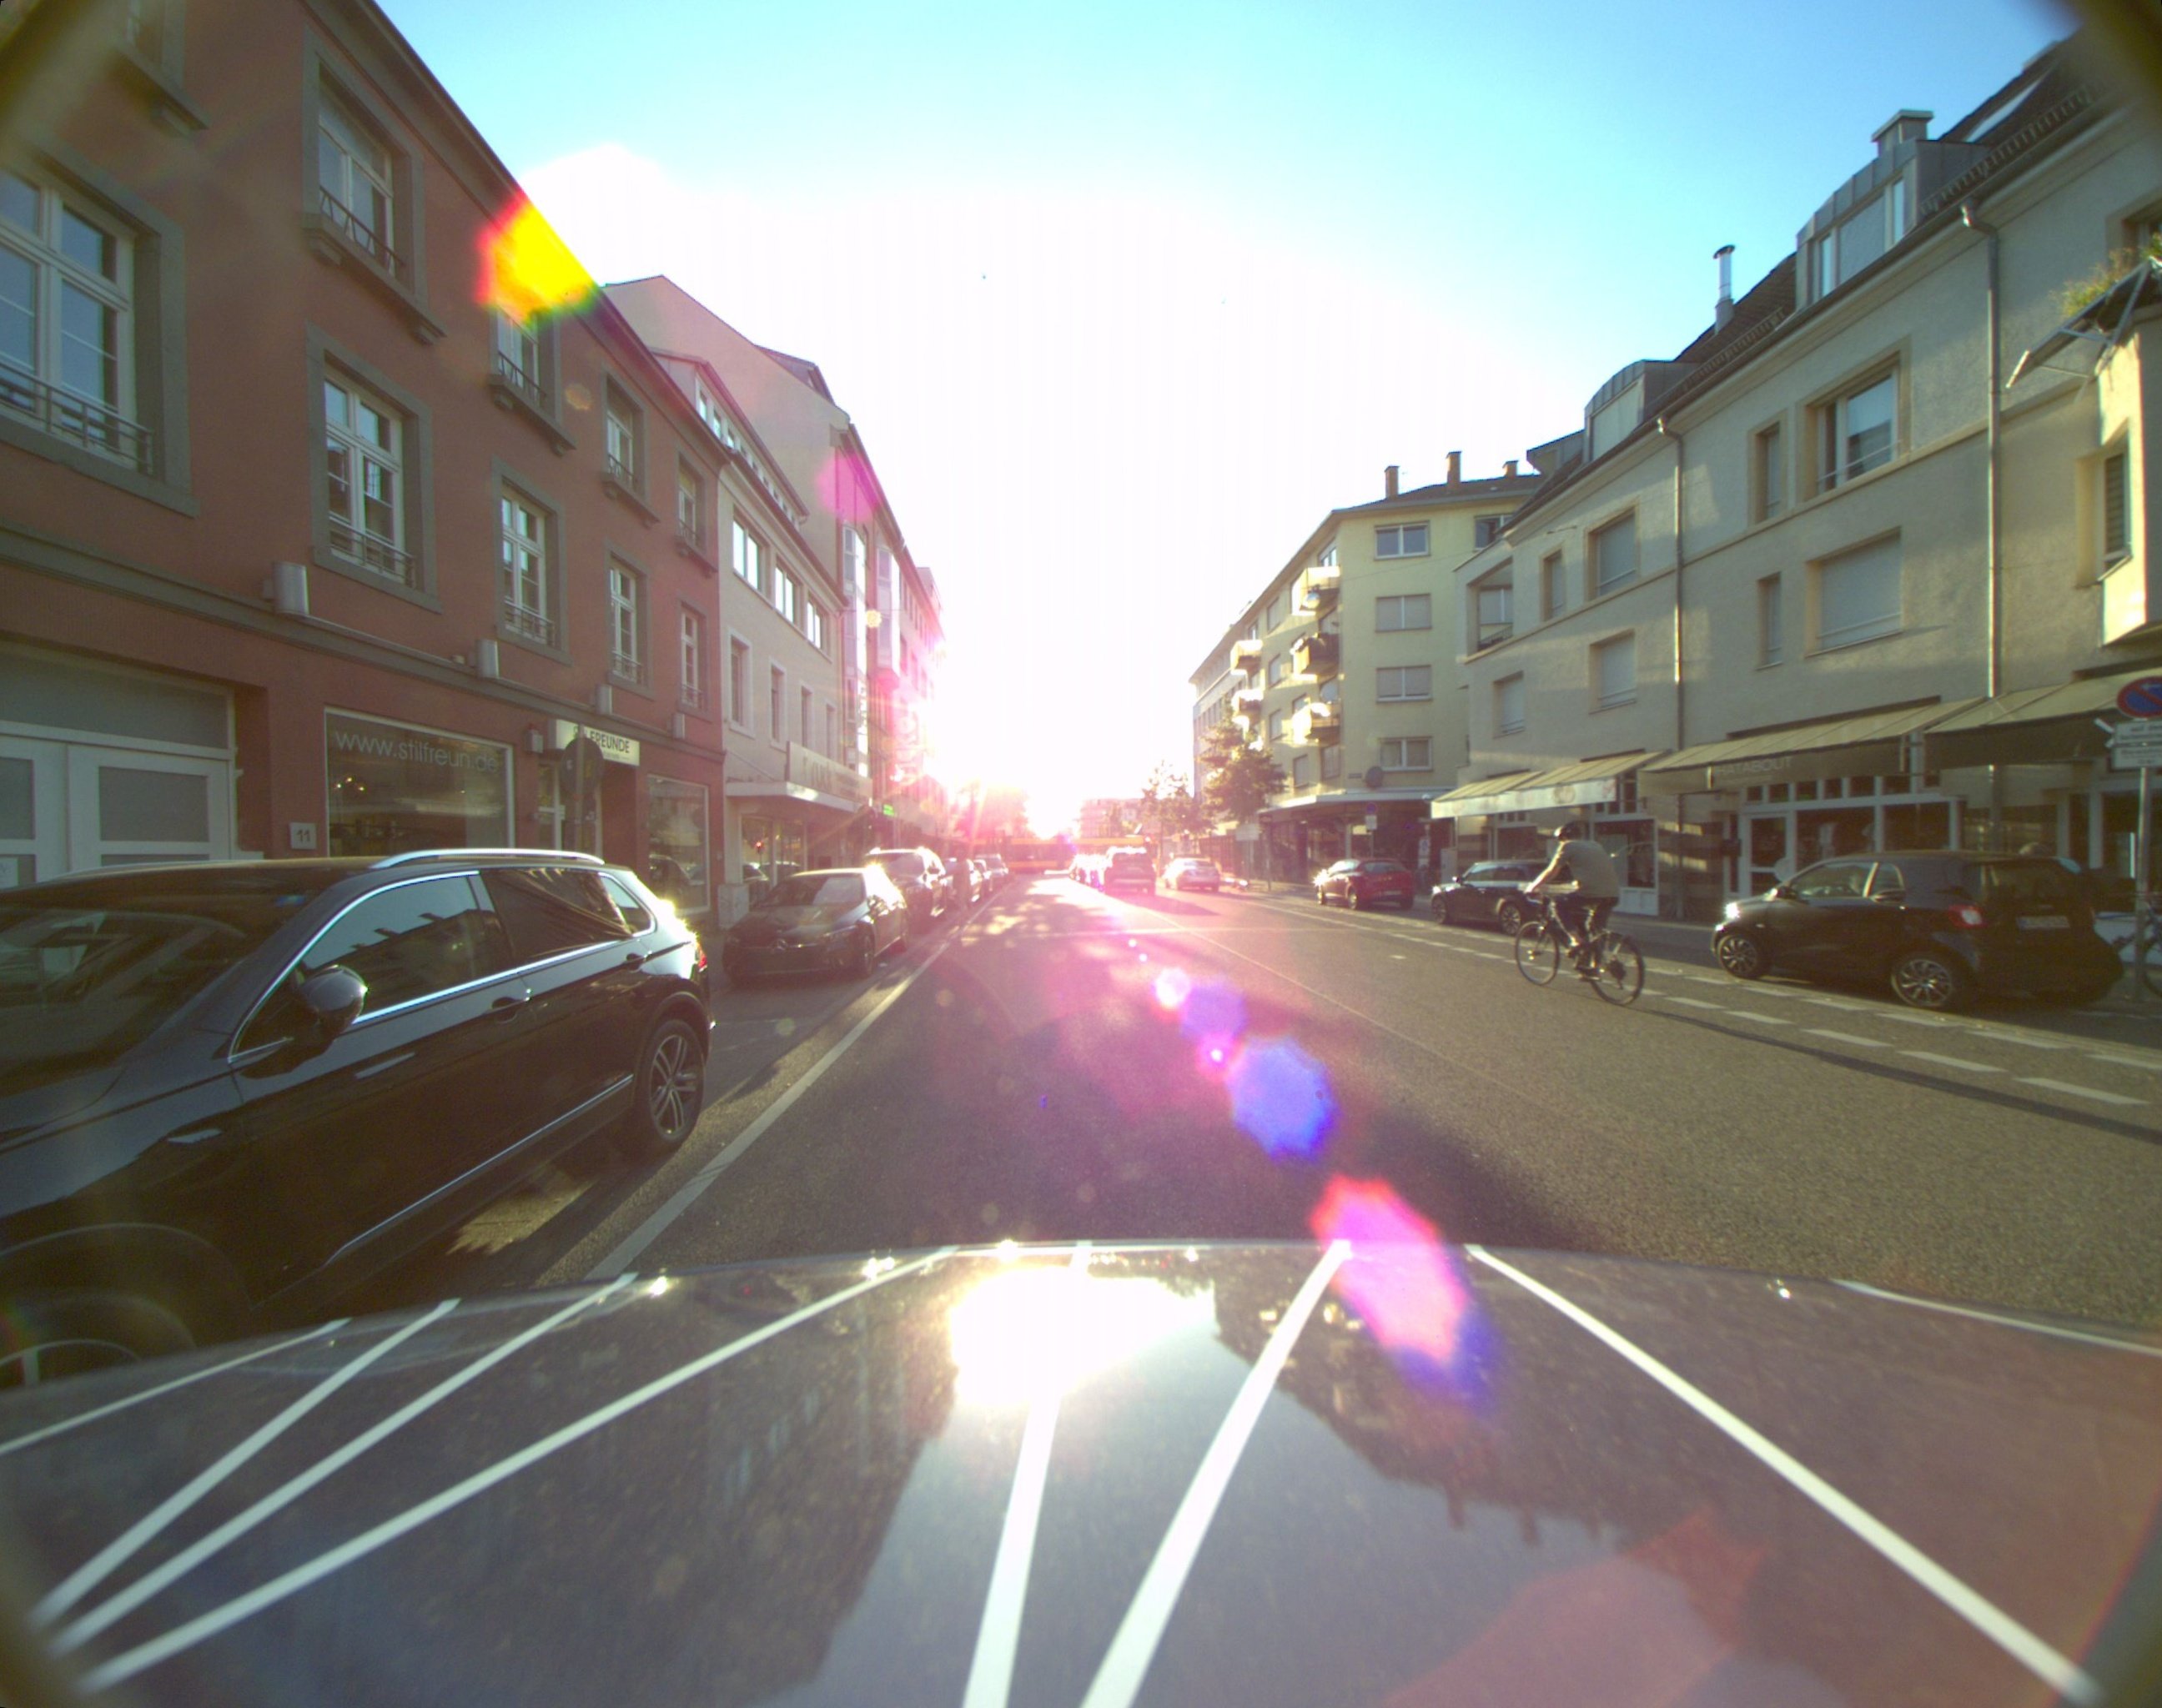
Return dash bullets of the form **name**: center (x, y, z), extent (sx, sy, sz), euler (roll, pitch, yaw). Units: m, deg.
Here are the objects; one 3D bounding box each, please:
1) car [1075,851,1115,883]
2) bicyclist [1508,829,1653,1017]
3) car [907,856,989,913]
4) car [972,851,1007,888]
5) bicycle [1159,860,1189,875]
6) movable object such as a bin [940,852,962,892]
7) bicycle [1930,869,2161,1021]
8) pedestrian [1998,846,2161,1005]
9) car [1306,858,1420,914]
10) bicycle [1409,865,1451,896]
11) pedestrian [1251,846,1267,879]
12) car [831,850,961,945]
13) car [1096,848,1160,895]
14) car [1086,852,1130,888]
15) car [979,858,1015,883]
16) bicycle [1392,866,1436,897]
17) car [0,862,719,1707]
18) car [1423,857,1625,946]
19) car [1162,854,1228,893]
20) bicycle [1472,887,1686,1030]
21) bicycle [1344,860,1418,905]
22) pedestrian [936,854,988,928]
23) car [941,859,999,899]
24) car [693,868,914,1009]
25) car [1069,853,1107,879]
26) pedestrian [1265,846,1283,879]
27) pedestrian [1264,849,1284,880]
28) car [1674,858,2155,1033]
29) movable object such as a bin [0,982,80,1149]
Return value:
- **car**: center (0.725, 0.673, 42.625), extent (1.951, 1.635, 4.613), euler (0, 1, -2)
- **bicyclist**: center (5.124, 0.664, 7.864), extent (0.783, 1.818, 1.006), euler (0, 1, -5)
- **car**: center (-4.165, 0.897, 24.547), extent (1.816, 1.518, 4.992), euler (-2, 1, -1)
- **car**: center (-4.742, 0.790, 39.697), extent (1.659, 1.768, 4.009), euler (-2, 0, -6)
- **bicycle**: center (6.636, 0.959, 54.344), extent (2.015, 0.986, 0.491), euler (-2, 1, -7)
- **movable object such as a bin**: center (-5.946, 0.805, 34.737), extent (0.837, 1.764, 1.352), euler (-2, 1, -6)
- **bicycle**: center (10.562, 0.890, 7.952), extent (0.612, 1.367, 2.357), euler (-2, 1, -4)
- **pedestrian**: center (11.099, 0.738, 8.420), extent (0.719, 1.632, 0.951), euler (-2, 1, -6)
- **car**: center (8.144, 0.864, 22.297), extent (1.665, 1.394, 3.882), euler (-2, 1, -3)
- **bicycle**: center (12.286, 0.920, 26.810), extent (0.491, 0.986, 2.015), euler (-2, 1, -2)
- **pedestrian**: center (10.270, 0.491, 43.789), extent (0.769, 1.836, 0.743), euler (-1, -1, 7)
- **car**: center (-4.022, 0.846, 17.460), extent (1.888, 1.744, 5.057), euler (-2, 1, -3)
- **car**: center (1.701, 0.587, 28.892), extent (1.946, 1.635, 4.737), euler (0, 1, -2)
- **car**: center (1.206, 0.718, 35.806), extent (1.728, 1.540, 4.463), euler (0, 1, -2)
- **car**: center (-5.007, 0.967, 45.746), extent (1.942, 1.368, 4.180), euler (-2, 0, -4)
- **bicycle**: center (11.732, 0.942, 26.841), extent (0.491, 0.986, 2.015), euler (-2, 1, -5)
- **car**: center (-3.071, 0.940, 2.504), extent (1.817, 1.658, 4.204), euler (-2, 1, -2)
- **car**: center (8.651, 0.842, 15.248), extent (1.716, 1.445, 3.723), euler (-2, 1, -3)
- **car**: center (5.003, 0.823, 33.940), extent (1.999, 1.503, 4.507), euler (2, 1, -3)
- **bicycle**: center (5.110, 1.002, 8.007), extent (0.783, 1.197, 2.019), euler (0, 1, -5)
- **bicycle**: center (9.753, 0.887, 24.889), extent (0.961, 1.293, 3.125), euler (-2, 1, -5)
- **pedestrian**: center (-2.772, 0.832, 17.669), extent (0.908, 1.666, 0.991), euler (-1, 0, -26)
- **car**: center (-4.330, 0.936, 30.246), extent (1.757, 1.412, 4.508), euler (-2, 0, -2)
- **car**: center (-3.756, 1.044, 11.181), extent (1.767, 1.475, 4.305), euler (-2, 1, -2)
- **car**: center (0.400, 0.771, 49.184), extent (1.964, 1.538, 4.508), euler (-1, -1, -5)
- **pedestrian**: center (10.785, 0.476, 42.476), extent (0.742, 1.808, 0.813), euler (0, 0, -1)
- **pedestrian**: center (10.516, 0.570, 41.416), extent (0.768, 1.666, 0.744), euler (-1, 1, 39)
- **car**: center (8.878, 0.834, 8.520), extent (1.797, 1.526, 3.187), euler (-1, 0, -6)
- **movable object such as a bin**: center (-6.733, 1.295, 4.637), extent (0.554, 0.932, 0.485), euler (-1, 1, -5)
